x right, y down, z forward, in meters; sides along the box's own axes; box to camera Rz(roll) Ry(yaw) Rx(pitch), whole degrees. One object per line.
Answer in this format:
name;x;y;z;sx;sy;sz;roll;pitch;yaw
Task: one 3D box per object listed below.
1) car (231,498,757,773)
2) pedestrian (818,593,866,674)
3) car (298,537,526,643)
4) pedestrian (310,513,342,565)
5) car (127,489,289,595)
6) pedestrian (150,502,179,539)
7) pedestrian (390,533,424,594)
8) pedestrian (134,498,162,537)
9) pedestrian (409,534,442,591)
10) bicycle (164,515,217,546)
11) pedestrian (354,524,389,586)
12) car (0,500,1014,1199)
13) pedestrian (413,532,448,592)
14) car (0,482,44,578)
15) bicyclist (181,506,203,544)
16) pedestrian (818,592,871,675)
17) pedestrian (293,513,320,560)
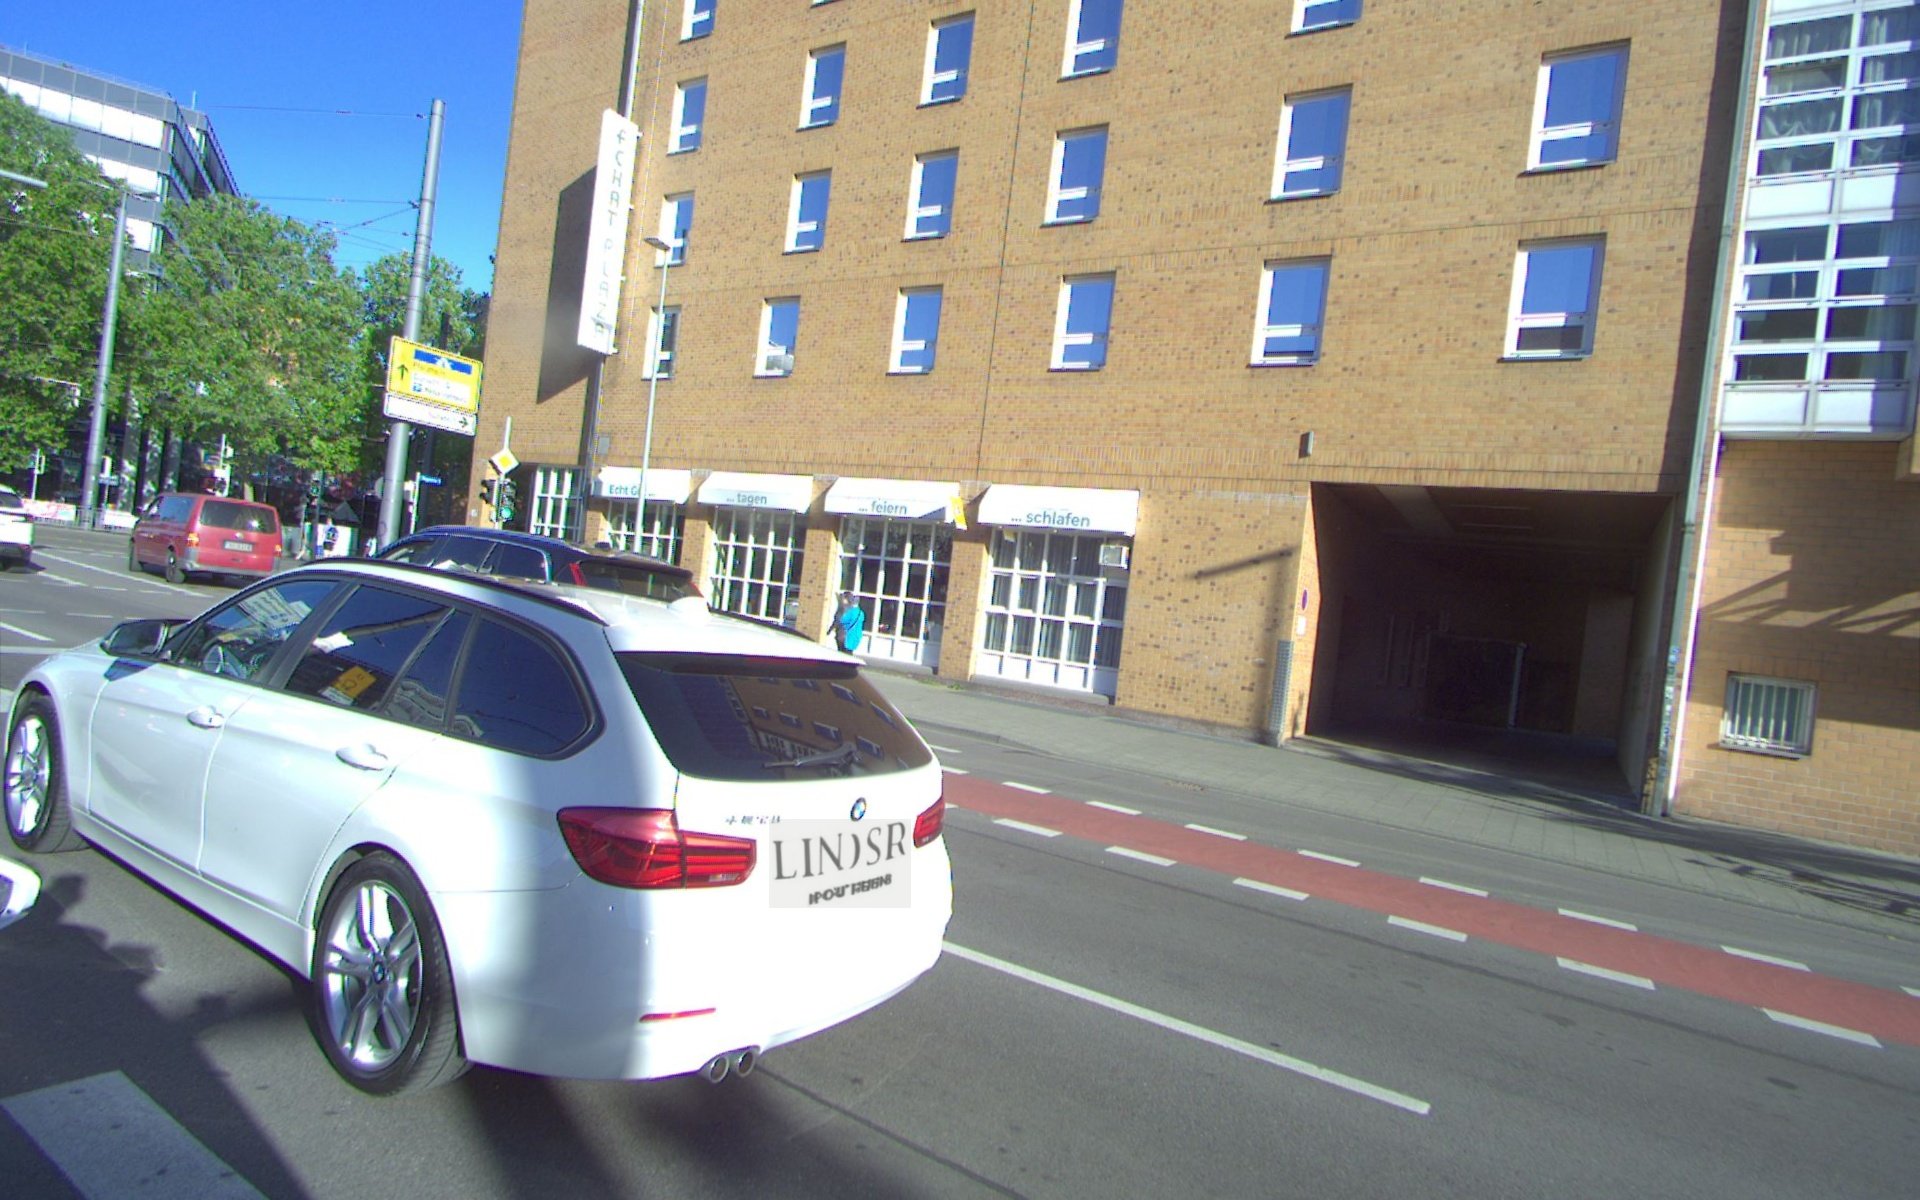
car;-4.249;0.226;9.018;4.531;1.752;1.736;6;-2;28
pedestrian;-2.299;0.657;19.585;0.543;1.495;0.593;6;1;32
car;-10.322;-0.195;18.922;3.971;1.466;1.736;6;-2;28
pedestrian;-25.147;-2.424;39.895;0.787;1.920;0.809;8;-1;-39
car;-17.226;-1.362;22.971;4.407;2.033;1.802;6;0;39
pedestrian;-35.205;-3.515;44.535;0.689;1.496;0.568;7;-1;16
pedestrian;-17.139;-1.134;31.169;0.673;1.802;0.591;7;1;43
pedestrian;-35.466;-3.601;43.955;0.689;1.550;0.567;7;-1;24
pedestrian;-17.337;-1.208;32.620;0.622;1.749;0.623;8;-1;-41
bicycle;-39.938;-3.594;52.230;0.414;1.228;2.046;6;-2;32
pedestrian;-17.814;-1.348;30.472;0.670;1.804;0.592;6;3;29
car;-2.165;0.559;4.109;4.345;1.474;1.735;6;-2;32
pedestrian;-17.134;-1.223;32.538;0.726;1.813;0.510;7;-1;-18
car;-18.703;-1.466;18.414;3.974;1.617;1.735;6;-2;32
bicyclist;-39.888;-3.901;52.252;0.396;1.859;0.585;6;-1;32
pedestrian;-2.153;0.623;18.781;0.591;1.471;0.593;6;1;32
pedestrian;-25.284;-2.442;38.896;0.636;1.719;0.715;8;-1;-38
